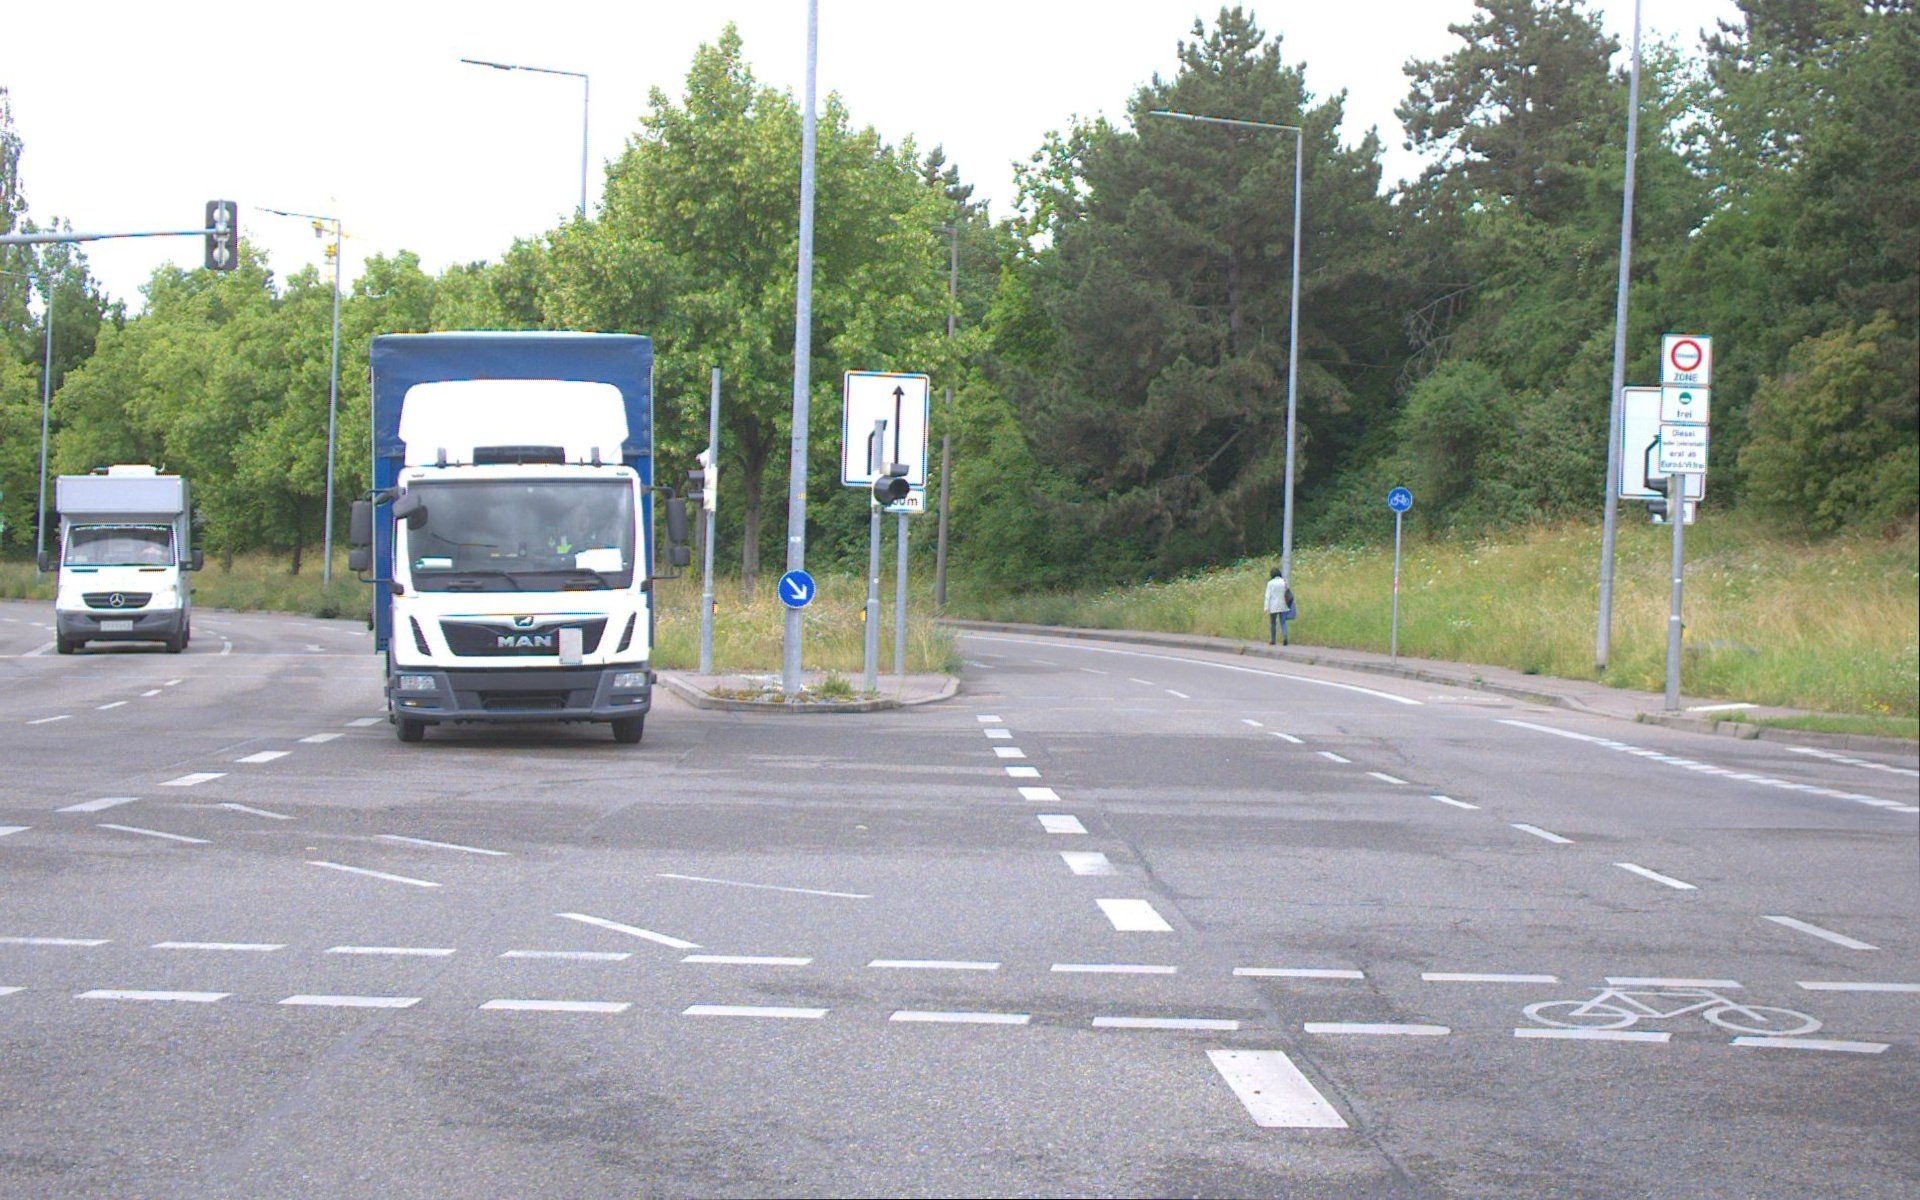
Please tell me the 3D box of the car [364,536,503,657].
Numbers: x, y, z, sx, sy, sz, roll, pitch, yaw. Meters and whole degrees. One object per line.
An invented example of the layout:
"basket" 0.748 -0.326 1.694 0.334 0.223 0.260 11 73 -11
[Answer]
"car" -9.237 -0.101 60.012 1.993 2.007 4.610 1 1 -14

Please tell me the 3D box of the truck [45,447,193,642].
"truck" -13.972 -0.917 57.420 2.104 3.000 6.275 -3 1 -12

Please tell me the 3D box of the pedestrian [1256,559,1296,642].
"pedestrian" 6.630 0.007 72.097 0.739 1.711 0.625 1 1 -1

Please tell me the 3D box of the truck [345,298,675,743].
"truck" -4.509 -0.730 33.844 2.778 3.791 8.391 1 1 -9
